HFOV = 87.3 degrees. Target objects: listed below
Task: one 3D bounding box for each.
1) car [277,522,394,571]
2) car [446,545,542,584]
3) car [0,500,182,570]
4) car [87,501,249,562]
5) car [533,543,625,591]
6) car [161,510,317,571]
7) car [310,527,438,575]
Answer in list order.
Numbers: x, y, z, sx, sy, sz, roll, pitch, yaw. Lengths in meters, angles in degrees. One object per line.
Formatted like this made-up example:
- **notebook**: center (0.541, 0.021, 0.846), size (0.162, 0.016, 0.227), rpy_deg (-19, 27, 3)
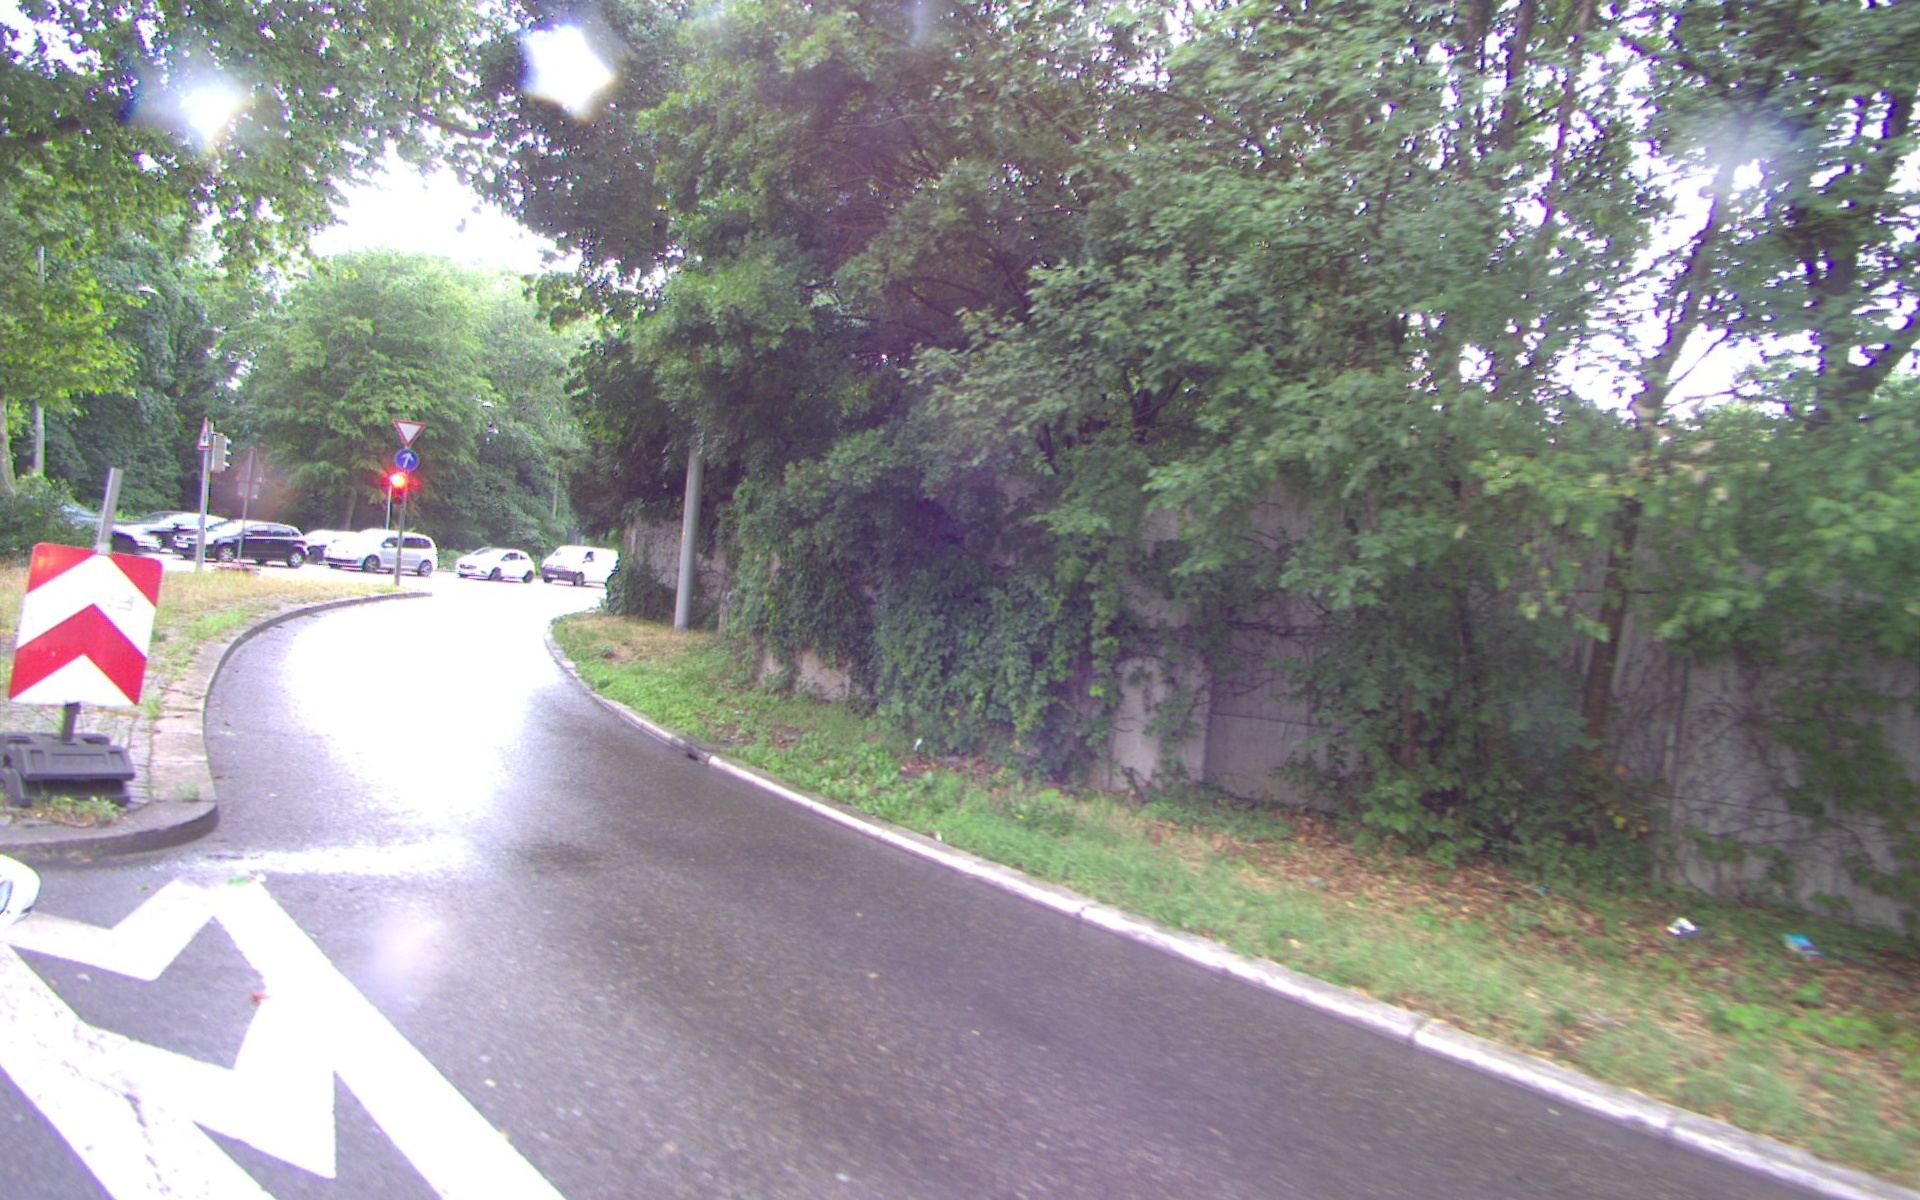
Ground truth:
- **car**: center (-24.940, -2.111, 40.316), size (1.712, 1.504, 3.837), rpy_deg (7, 0, 12)
- **car**: center (-20.798, -1.552, 45.069), size (1.740, 1.506, 3.998), rpy_deg (6, 2, 12)
- **car**: center (-22.576, -1.639, 25.577), size (1.556, 1.465, 4.143), rpy_deg (6, 2, 22)
- **car**: center (-26.988, -2.285, 34.449), size (1.843, 1.504, 4.002), rpy_deg (6, -1, 12)
- **car**: center (-19.237, -1.635, 51.020), size (1.872, 1.946, 4.862), rpy_deg (6, 0, 12)
- **car**: center (-23.387, -1.895, 32.809), size (1.641, 1.503, 3.867), rpy_deg (6, 0, 17)
- **car**: center (-22.307, -1.824, 38.477), size (1.740, 1.506, 4.271), rpy_deg (6, 2, 12)
